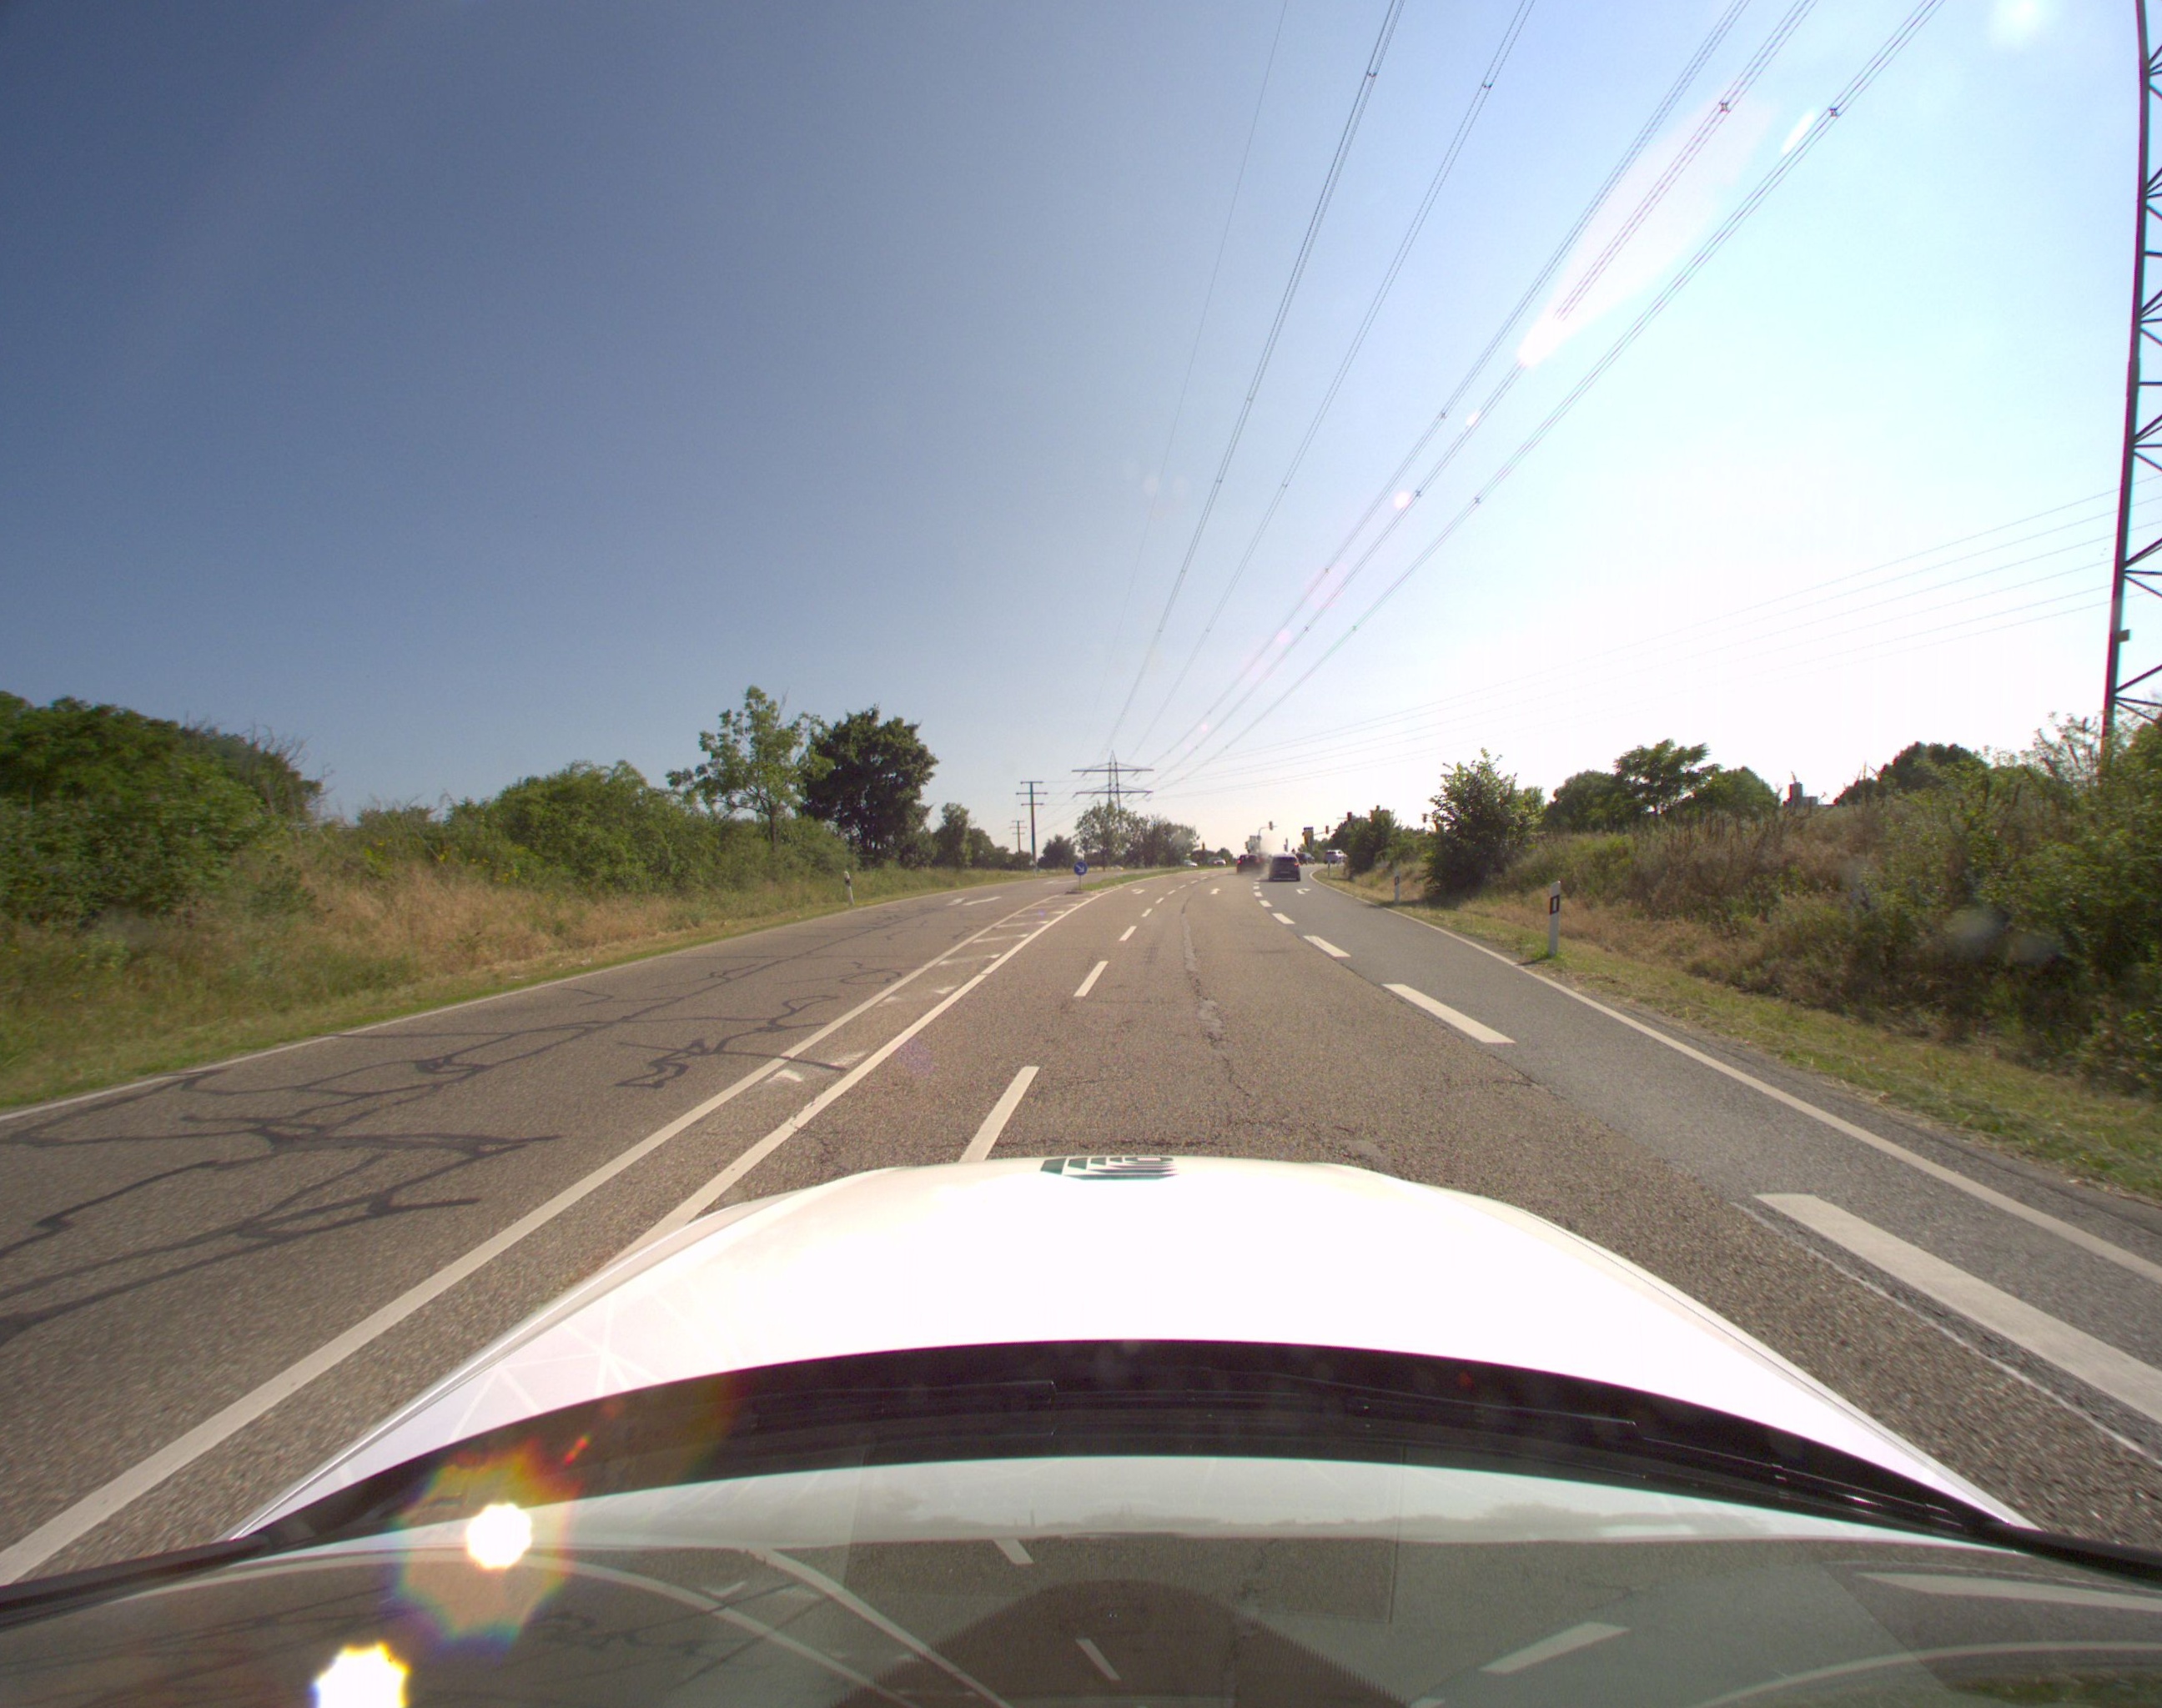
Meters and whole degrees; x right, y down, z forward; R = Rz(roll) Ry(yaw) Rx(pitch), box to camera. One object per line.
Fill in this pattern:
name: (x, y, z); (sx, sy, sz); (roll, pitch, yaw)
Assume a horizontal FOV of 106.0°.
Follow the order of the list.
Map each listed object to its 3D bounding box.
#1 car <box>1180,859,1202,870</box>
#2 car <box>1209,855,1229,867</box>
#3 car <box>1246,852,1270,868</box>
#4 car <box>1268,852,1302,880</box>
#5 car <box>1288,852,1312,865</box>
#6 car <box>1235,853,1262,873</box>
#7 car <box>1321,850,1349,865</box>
car: (17.823, 1.716, 132.249); (1.822, 1.651, 3.969); (-1, -2, -23)
car: (20.680, 1.103, 121.914); (1.814, 1.651, 3.987); (-2, -1, -9)
car: (18.167, 0.608, 83.532); (1.727, 1.569, 3.643); (-1, 0, 22)
car: (11.595, 0.652, 46.501); (1.761, 1.517, 4.113); (1, 1, 12)
car: (26.596, 0.550, 98.675); (1.725, 1.484, 3.647); (-1, -1, 33)
car: (12.213, 0.647, 59.218); (1.620, 1.448, 3.309); (-1, -1, 16)
car: (30.157, 0.393, 96.700); (1.617, 1.677, 3.772); (-2, -1, 43)
